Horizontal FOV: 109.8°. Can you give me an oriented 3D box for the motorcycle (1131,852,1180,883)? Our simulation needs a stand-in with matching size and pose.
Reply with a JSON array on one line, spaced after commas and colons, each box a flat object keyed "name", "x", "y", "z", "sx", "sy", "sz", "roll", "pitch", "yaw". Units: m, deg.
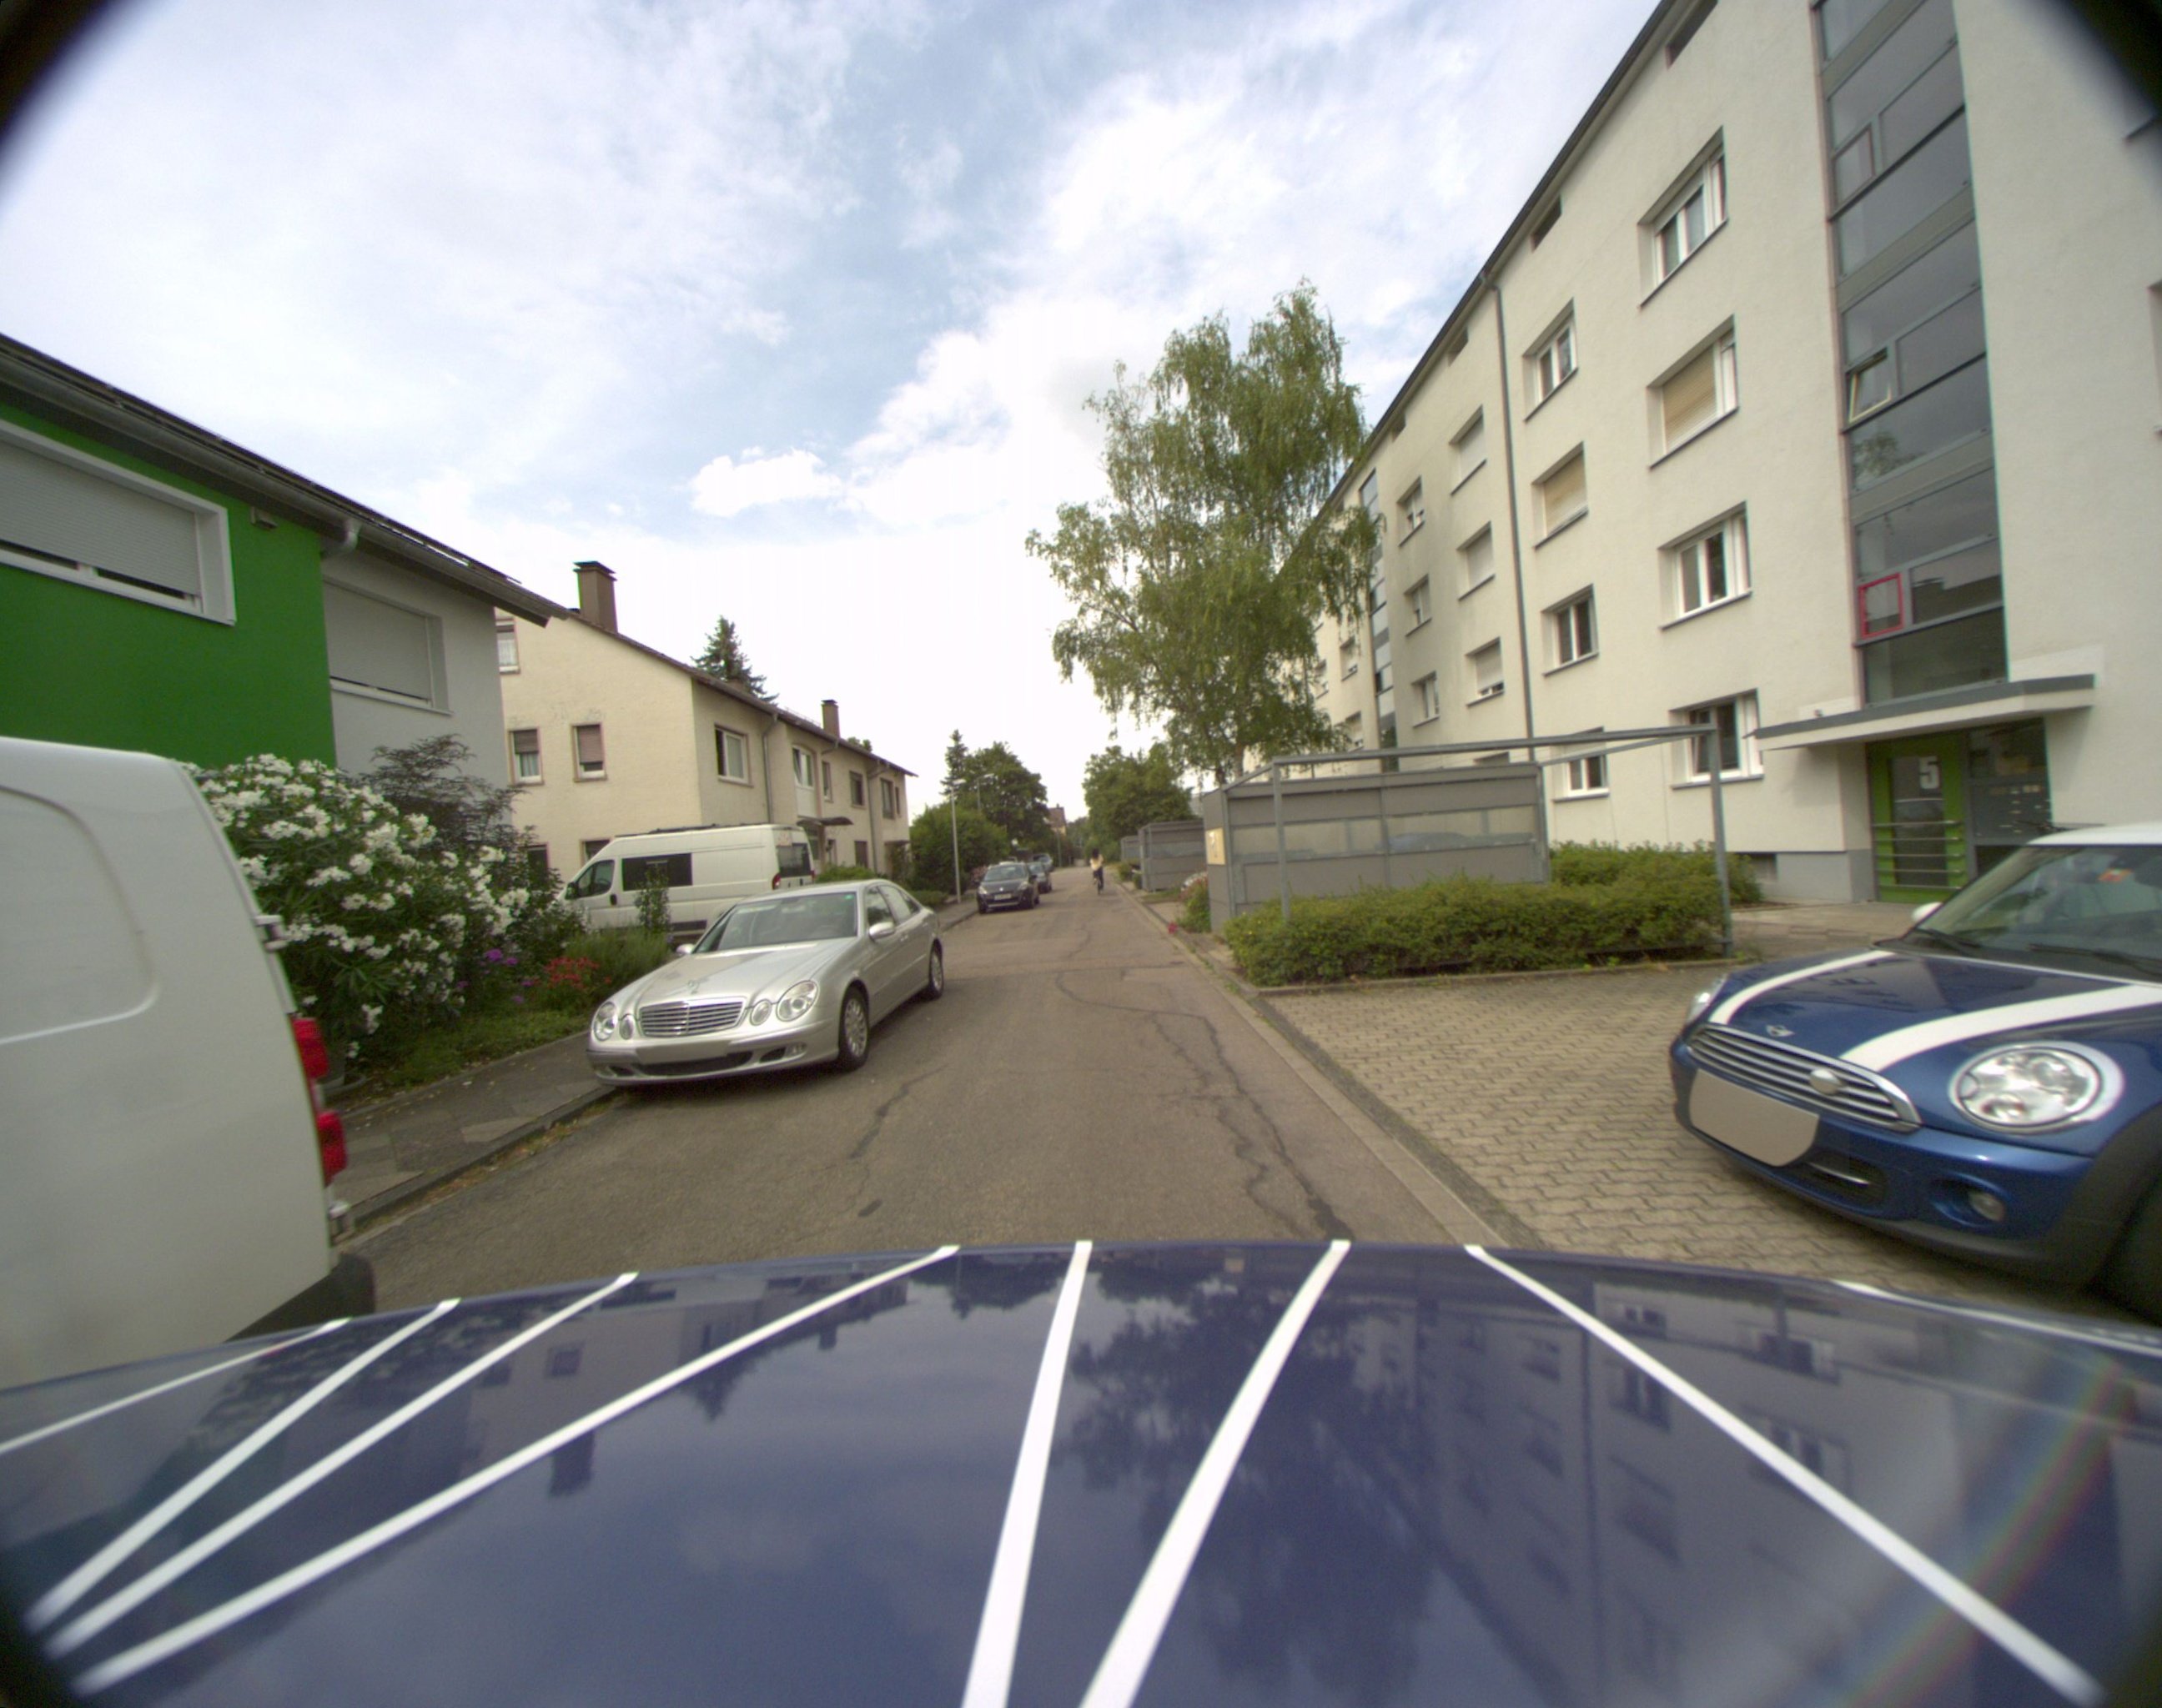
[{"name": "motorcycle", "x": 3.795, "y": 0.674, "z": 38.738, "sx": 2.383, "sy": 1.455, "sz": 0.714, "roll": -3, "pitch": 1, "yaw": 1}]

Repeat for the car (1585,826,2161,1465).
[{"name": "car", "x": 4.171, "y": 0.665, "z": 2.611, "sx": 3.643, "sy": 1.453, "sz": 1.653, "roll": -5, "pitch": 1, "yaw": 4}]

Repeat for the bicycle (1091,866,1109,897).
[{"name": "bicycle", "x": 0.754, "y": 1.050, "z": 29.553, "sx": 0.598, "sy": 1.070, "sz": 2.042, "roll": -3, "pitch": 0, "yaw": 2}]

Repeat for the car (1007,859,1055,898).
[{"name": "car", "x": -2.230, "y": 1.064, "z": 34.743, "sx": 1.834, "sy": 1.449, "sz": 4.189, "roll": -6, "pitch": 0, "yaw": -1}]

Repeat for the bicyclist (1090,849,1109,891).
[{"name": "bicyclist", "x": 0.720, "y": 0.622, "z": 29.419, "sx": 0.598, "sy": 1.571, "sz": 0.767, "roll": -3, "pitch": 1, "yaw": 2}]

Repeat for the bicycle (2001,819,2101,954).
[{"name": "bicycle", "x": 9.389, "y": 0.279, "z": 7.340, "sx": 1.543, "sy": 1.145, "sz": 0.480, "roll": -4, "pitch": 1, "yaw": -35}]

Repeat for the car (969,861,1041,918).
[{"name": "car", "x": -2.339, "y": 1.064, "z": 24.361, "sx": 1.834, "sy": 1.449, "sz": 4.189, "roll": -6, "pitch": 0, "yaw": -1}]

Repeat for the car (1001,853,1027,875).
[{"name": "car", "x": -5.310, "y": 0.757, "z": 60.809, "sx": 1.705, "sy": 1.458, "sz": 3.998, "roll": -4, "pitch": 2, "yaw": -2}]

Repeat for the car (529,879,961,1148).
[{"name": "car", "x": -2.545, "y": 1.116, "z": 7.161, "sx": 1.788, "sy": 1.412, "sz": 4.456, "roll": -6, "pitch": 0, "yaw": 3}]

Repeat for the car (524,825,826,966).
[{"name": "car", "x": -8.457, "y": 0.828, "z": 16.219, "sx": 5.100, "sy": 2.527, "sz": 2.238, "roll": -3, "pitch": 0, "yaw": 2}]

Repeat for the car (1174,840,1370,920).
[{"name": "car", "x": 4.349, "y": 0.576, "z": 17.745, "sx": 4.061, "sy": 1.496, "sz": 1.782, "roll": -4, "pitch": 1, "yaw": 1}]

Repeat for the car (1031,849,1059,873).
[{"name": "car", "x": -2.826, "y": 0.535, "z": 60.126, "sx": 1.926, "sy": 1.576, "sz": 3.999, "roll": -6, "pitch": 0, "yaw": -1}]
